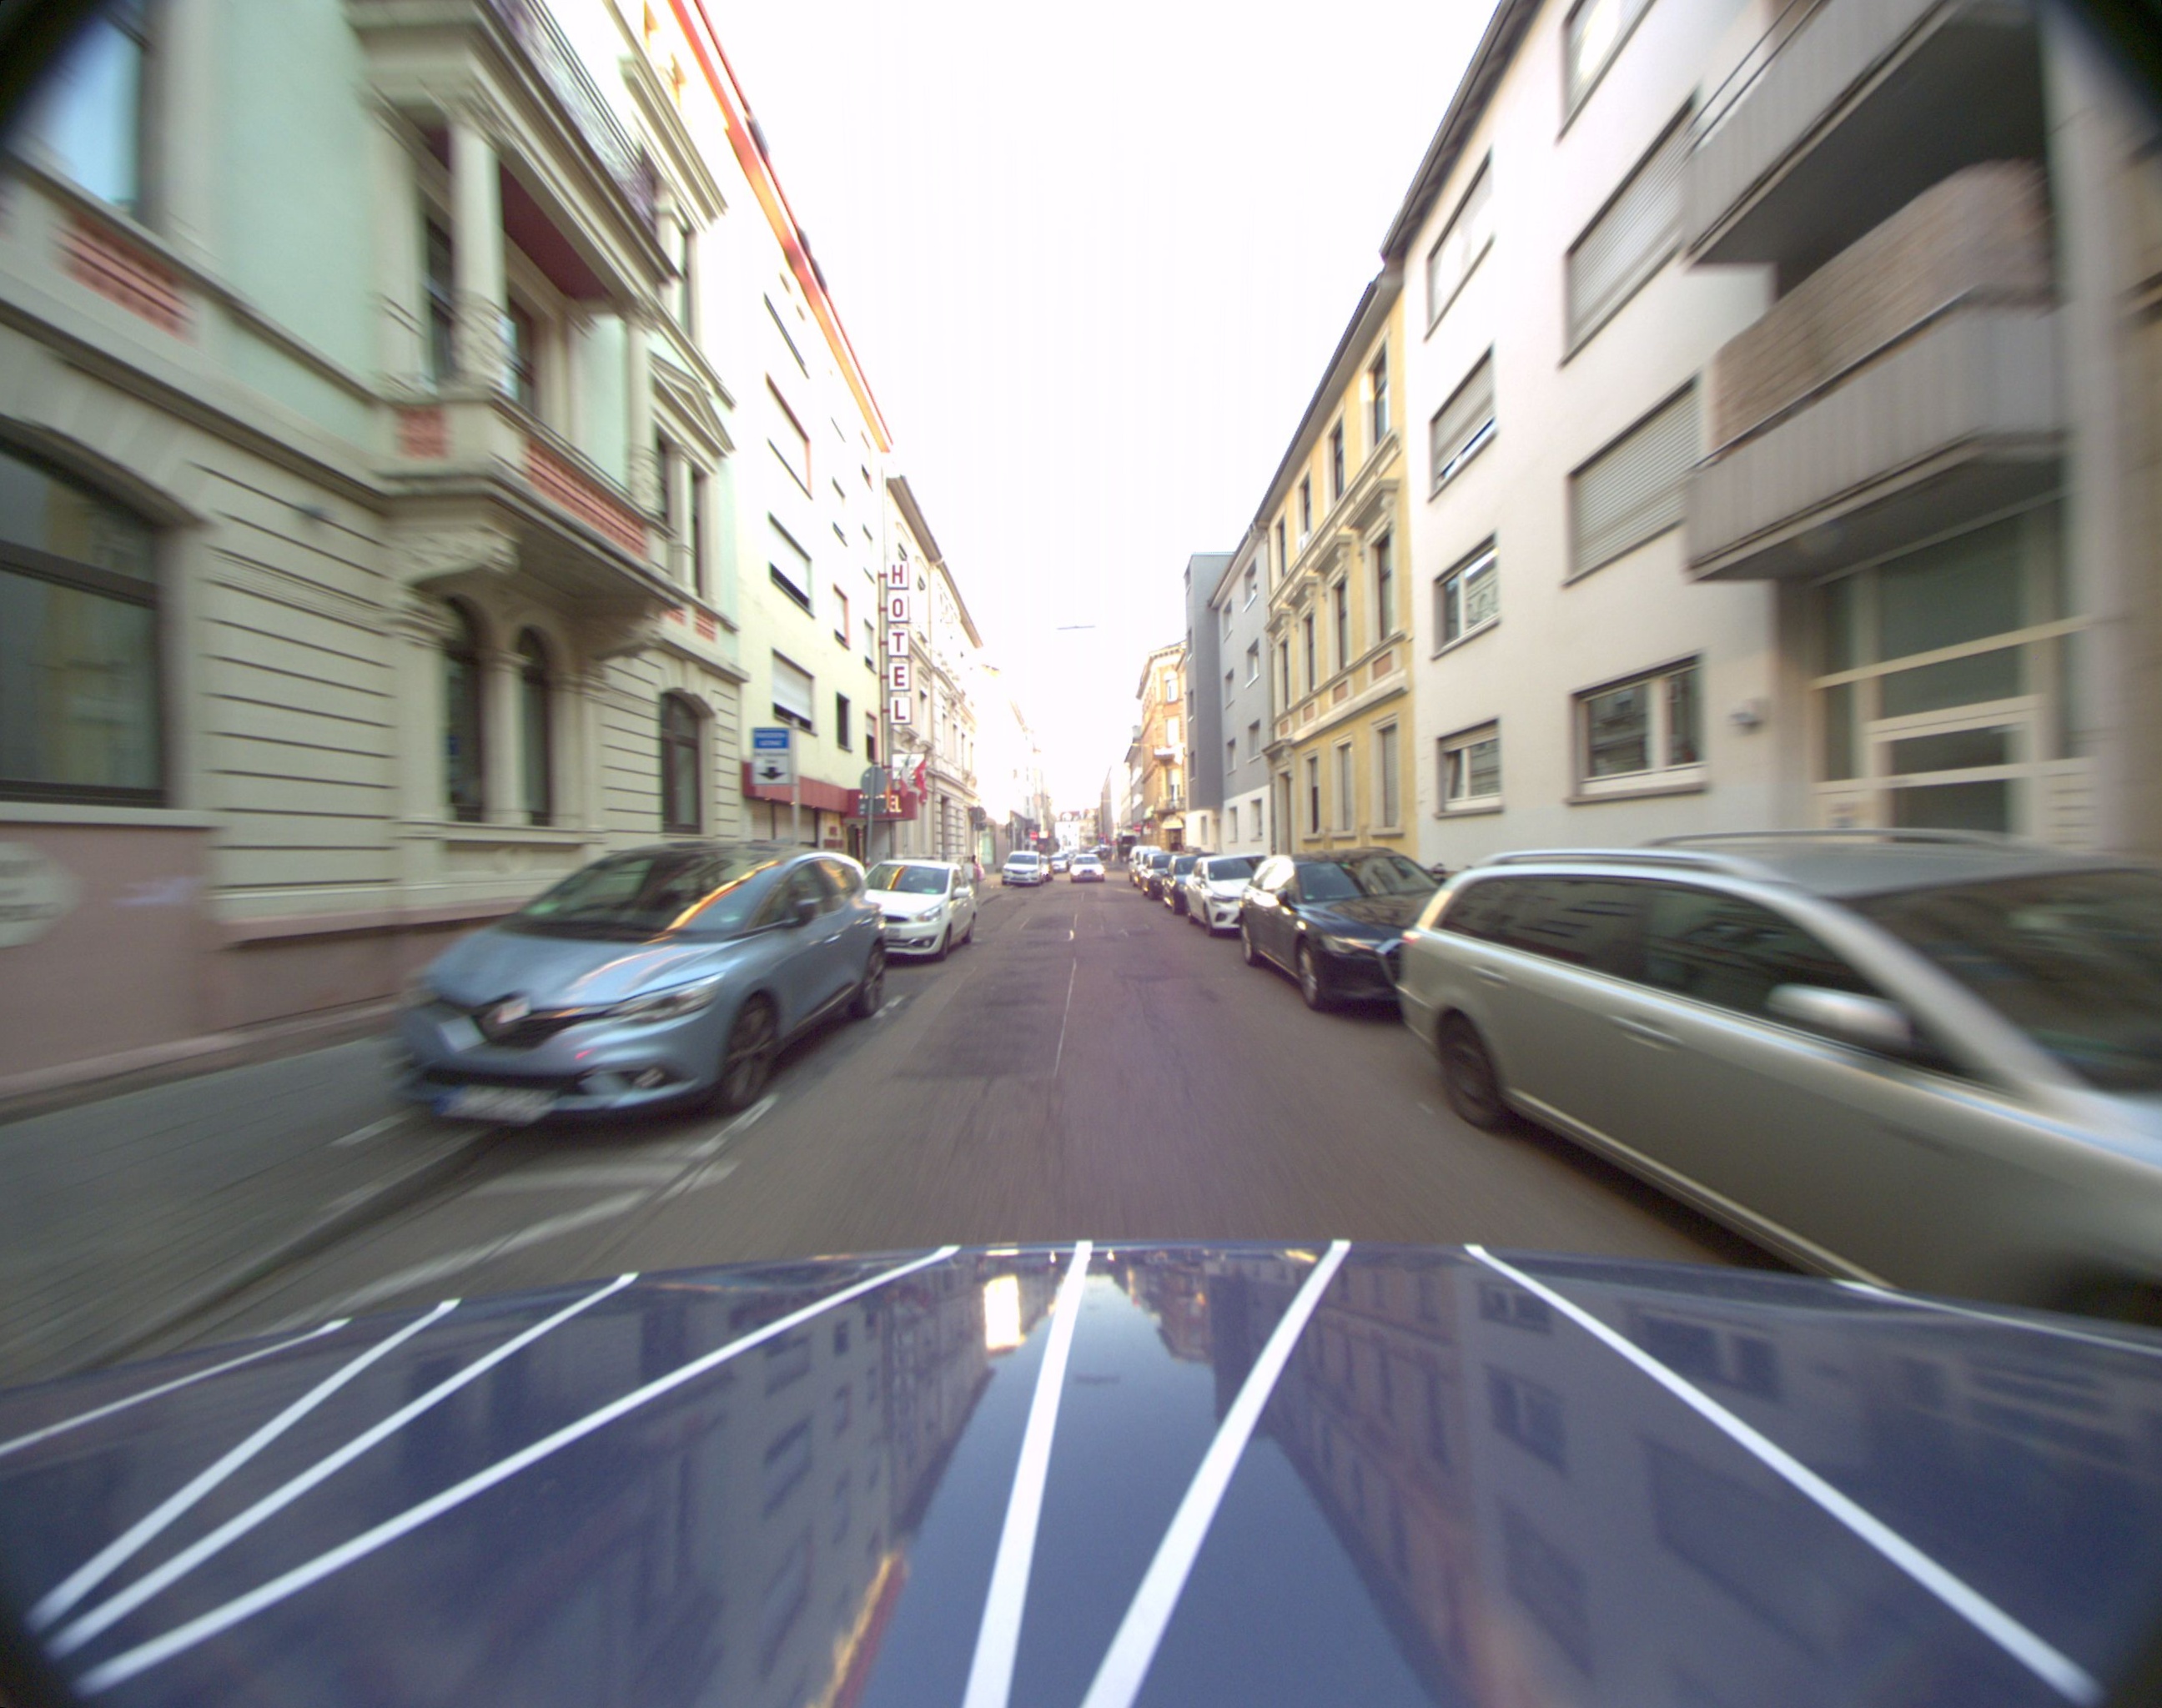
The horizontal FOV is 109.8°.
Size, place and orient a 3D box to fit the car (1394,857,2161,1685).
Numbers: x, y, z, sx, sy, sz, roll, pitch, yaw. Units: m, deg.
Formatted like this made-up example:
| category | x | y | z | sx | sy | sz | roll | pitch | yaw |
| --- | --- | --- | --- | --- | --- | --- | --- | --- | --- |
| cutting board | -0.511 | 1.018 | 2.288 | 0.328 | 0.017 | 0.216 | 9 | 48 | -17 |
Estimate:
| category | x | y | z | sx | sy | sz | roll | pitch | yaw |
| --- | --- | --- | --- | --- | --- | --- | --- | --- | --- |
| car | 2.946 | 0.817 | 2.625 | 1.795 | 1.530 | 4.433 | -2 | 0 | -1 |

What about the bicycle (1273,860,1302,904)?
| category | x | y | z | sx | sy | sz | roll | pitch | yaw |
| --- | --- | --- | --- | --- | --- | --- | --- | --- | --- |
| bicycle | 5.553 | 0.738 | 20.504 | 0.382 | 1.108 | 1.544 | -2 | 0 | 1 |

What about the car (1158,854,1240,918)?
| category | x | y | z | sx | sy | sz | roll | pitch | yaw |
| --- | --- | --- | --- | --- | --- | --- | --- | --- | --- |
| car | 3.004 | 0.762 | 20.040 | 1.642 | 1.480 | 3.954 | -2 | 0 | 2 |

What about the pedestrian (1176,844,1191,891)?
| category | x | y | z | sx | sy | sz | roll | pitch | yaw |
| --- | --- | --- | --- | --- | --- | --- | --- | --- | --- |
| pedestrian | 3.868 | 0.490 | 28.620 | 0.456 | 1.745 | 0.455 | -2 | 1 | -1 |

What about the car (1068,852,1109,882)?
| category | x | y | z | sx | sy | sz | roll | pitch | yaw |
| --- | --- | --- | --- | --- | --- | --- | --- | --- | --- |
| car | 0.344 | 0.656 | 39.943 | 1.682 | 1.395 | 4.469 | -3 | 0 | -5 |

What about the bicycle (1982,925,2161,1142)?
| category | x | y | z | sx | sy | sz | roll | pitch | yaw |
| --- | --- | --- | --- | --- | --- | --- | --- | --- | --- |
| bicycle | 5.525 | 0.932 | 3.773 | 0.292 | 1.003 | 1.544 | -2 | 0 | 1 |

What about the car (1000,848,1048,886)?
| category | x | y | z | sx | sy | sz | roll | pitch | yaw |
| --- | --- | --- | --- | --- | --- | --- | --- | --- | --- |
| car | -2.748 | 0.598 | 37.628 | 1.841 | 1.685 | 4.358 | 3 | 0 | 1 |

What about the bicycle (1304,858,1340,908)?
| category | x | y | z | sx | sy | sz | roll | pitch | yaw |
| --- | --- | --- | --- | --- | --- | --- | --- | --- | --- |
| bicycle | 5.683 | 0.652 | 17.962 | 0.382 | 1.108 | 1.544 | -2 | 0 | 1 |

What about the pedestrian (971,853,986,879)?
| category | x | y | z | sx | sy | sz | roll | pitch | yaw |
| --- | --- | --- | --- | --- | --- | --- | --- | --- | --- |
| pedestrian | -5.642 | 0.645 | 41.689 | 0.696 | 1.415 | 0.483 | -2 | 1 | 1 |

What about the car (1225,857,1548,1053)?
| category | x | y | z | sx | sy | sz | roll | pitch | yaw |
| --- | --- | --- | --- | --- | --- | --- | --- | --- | --- |
| car | 2.945 | 0.841 | 8.508 | 1.795 | 1.530 | 4.494 | -2 | 0 | 0 |

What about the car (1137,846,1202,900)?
| category | x | y | z | sx | sy | sz | roll | pitch | yaw |
| --- | --- | --- | --- | --- | --- | --- | --- | --- | --- |
| car | 2.962 | 0.597 | 26.092 | 1.642 | 1.701 | 3.782 | -2 | 0 | -2 |

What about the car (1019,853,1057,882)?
| category | x | y | z | sx | sy | sz | roll | pitch | yaw |
| --- | --- | --- | --- | --- | --- | --- | --- | --- | --- |
| car | -2.394 | 0.735 | 43.092 | 1.729 | 1.469 | 3.976 | -2 | 0 | 2 |

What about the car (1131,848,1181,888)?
| category | x | y | z | sx | sy | sz | roll | pitch | yaw |
| --- | --- | --- | --- | --- | --- | --- | --- | --- | --- |
| car | 3.165 | 0.551 | 32.583 | 1.642 | 1.571 | 3.782 | -2 | 0 | -2 |

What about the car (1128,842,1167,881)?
| category | x | y | z | sx | sy | sz | roll | pitch | yaw |
| --- | --- | --- | --- | --- | --- | --- | --- | --- | --- |
| car | 3.246 | 0.362 | 37.625 | 1.642 | 1.786 | 3.783 | -2 | 0 | 1 |

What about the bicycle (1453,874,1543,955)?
| category | x | y | z | sx | sy | sz | roll | pitch | yaw |
| --- | --- | --- | --- | --- | --- | --- | --- | --- | --- |
| bicycle | 5.850 | 0.814 | 10.736 | 0.292 | 1.003 | 1.543 | -2 | 1 | -5 |

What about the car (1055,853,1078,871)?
| category | x | y | z | sx | sy | sz | roll | pitch | yaw |
| --- | --- | --- | --- | --- | --- | --- | --- | --- | --- |
| car | -1.220 | 0.660 | 65.461 | 1.729 | 1.391 | 3.892 | -2 | 0 | 2 |

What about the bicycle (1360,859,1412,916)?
| category | x | y | z | sx | sy | sz | roll | pitch | yaw |
| --- | --- | --- | --- | --- | --- | --- | --- | --- | --- |
| bicycle | 5.781 | 0.611 | 14.462 | 0.292 | 1.003 | 1.543 | -2 | 0 | -3 |

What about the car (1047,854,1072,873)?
| category | x | y | z | sx | sy | sz | roll | pitch | yaw |
| --- | --- | --- | --- | --- | --- | --- | --- | --- | --- |
| car | -1.702 | 0.727 | 60.062 | 1.729 | 1.391 | 3.892 | -2 | 0 | 2 |

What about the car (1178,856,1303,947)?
| category | x | y | z | sx | sy | sz | roll | pitch | yaw |
| --- | --- | --- | --- | --- | --- | --- | --- | --- | --- |
| car | 2.977 | 0.817 | 14.910 | 1.642 | 1.480 | 3.788 | -2 | 0 | 0 |

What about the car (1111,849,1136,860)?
| category | x | y | z | sx | sy | sz | roll | pitch | yaw |
| --- | --- | --- | --- | --- | --- | --- | --- | --- | --- |
| car | 7.057 | 0.081 | 125.596 | 3.881 | 1.568 | 1.734 | -1 | 1 | 43 |

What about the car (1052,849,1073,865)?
| category | x | y | z | sx | sy | sz | roll | pitch | yaw |
| --- | --- | --- | --- | --- | --- | --- | --- | --- | --- |
| car | -1.653 | 0.295 | 70.752 | 1.729 | 1.391 | 3.892 | -2 | 0 | 2 |

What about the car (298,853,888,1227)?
| category | x | y | z | sx | sy | sz | roll | pitch | yaw |
| --- | --- | --- | --- | --- | --- | --- | --- | --- | --- |
| car | -2.848 | 0.890 | 5.685 | 1.694 | 1.731 | 4.109 | -2 | 0 | 0 |

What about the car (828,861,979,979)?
| category | x | y | z | sx | sy | sz | roll | pitch | yaw |
| --- | --- | --- | --- | --- | --- | --- | --- | --- | --- |
| car | -2.720 | 0.942 | 12.410 | 1.574 | 1.569 | 3.589 | -2 | 0 | 0 |
